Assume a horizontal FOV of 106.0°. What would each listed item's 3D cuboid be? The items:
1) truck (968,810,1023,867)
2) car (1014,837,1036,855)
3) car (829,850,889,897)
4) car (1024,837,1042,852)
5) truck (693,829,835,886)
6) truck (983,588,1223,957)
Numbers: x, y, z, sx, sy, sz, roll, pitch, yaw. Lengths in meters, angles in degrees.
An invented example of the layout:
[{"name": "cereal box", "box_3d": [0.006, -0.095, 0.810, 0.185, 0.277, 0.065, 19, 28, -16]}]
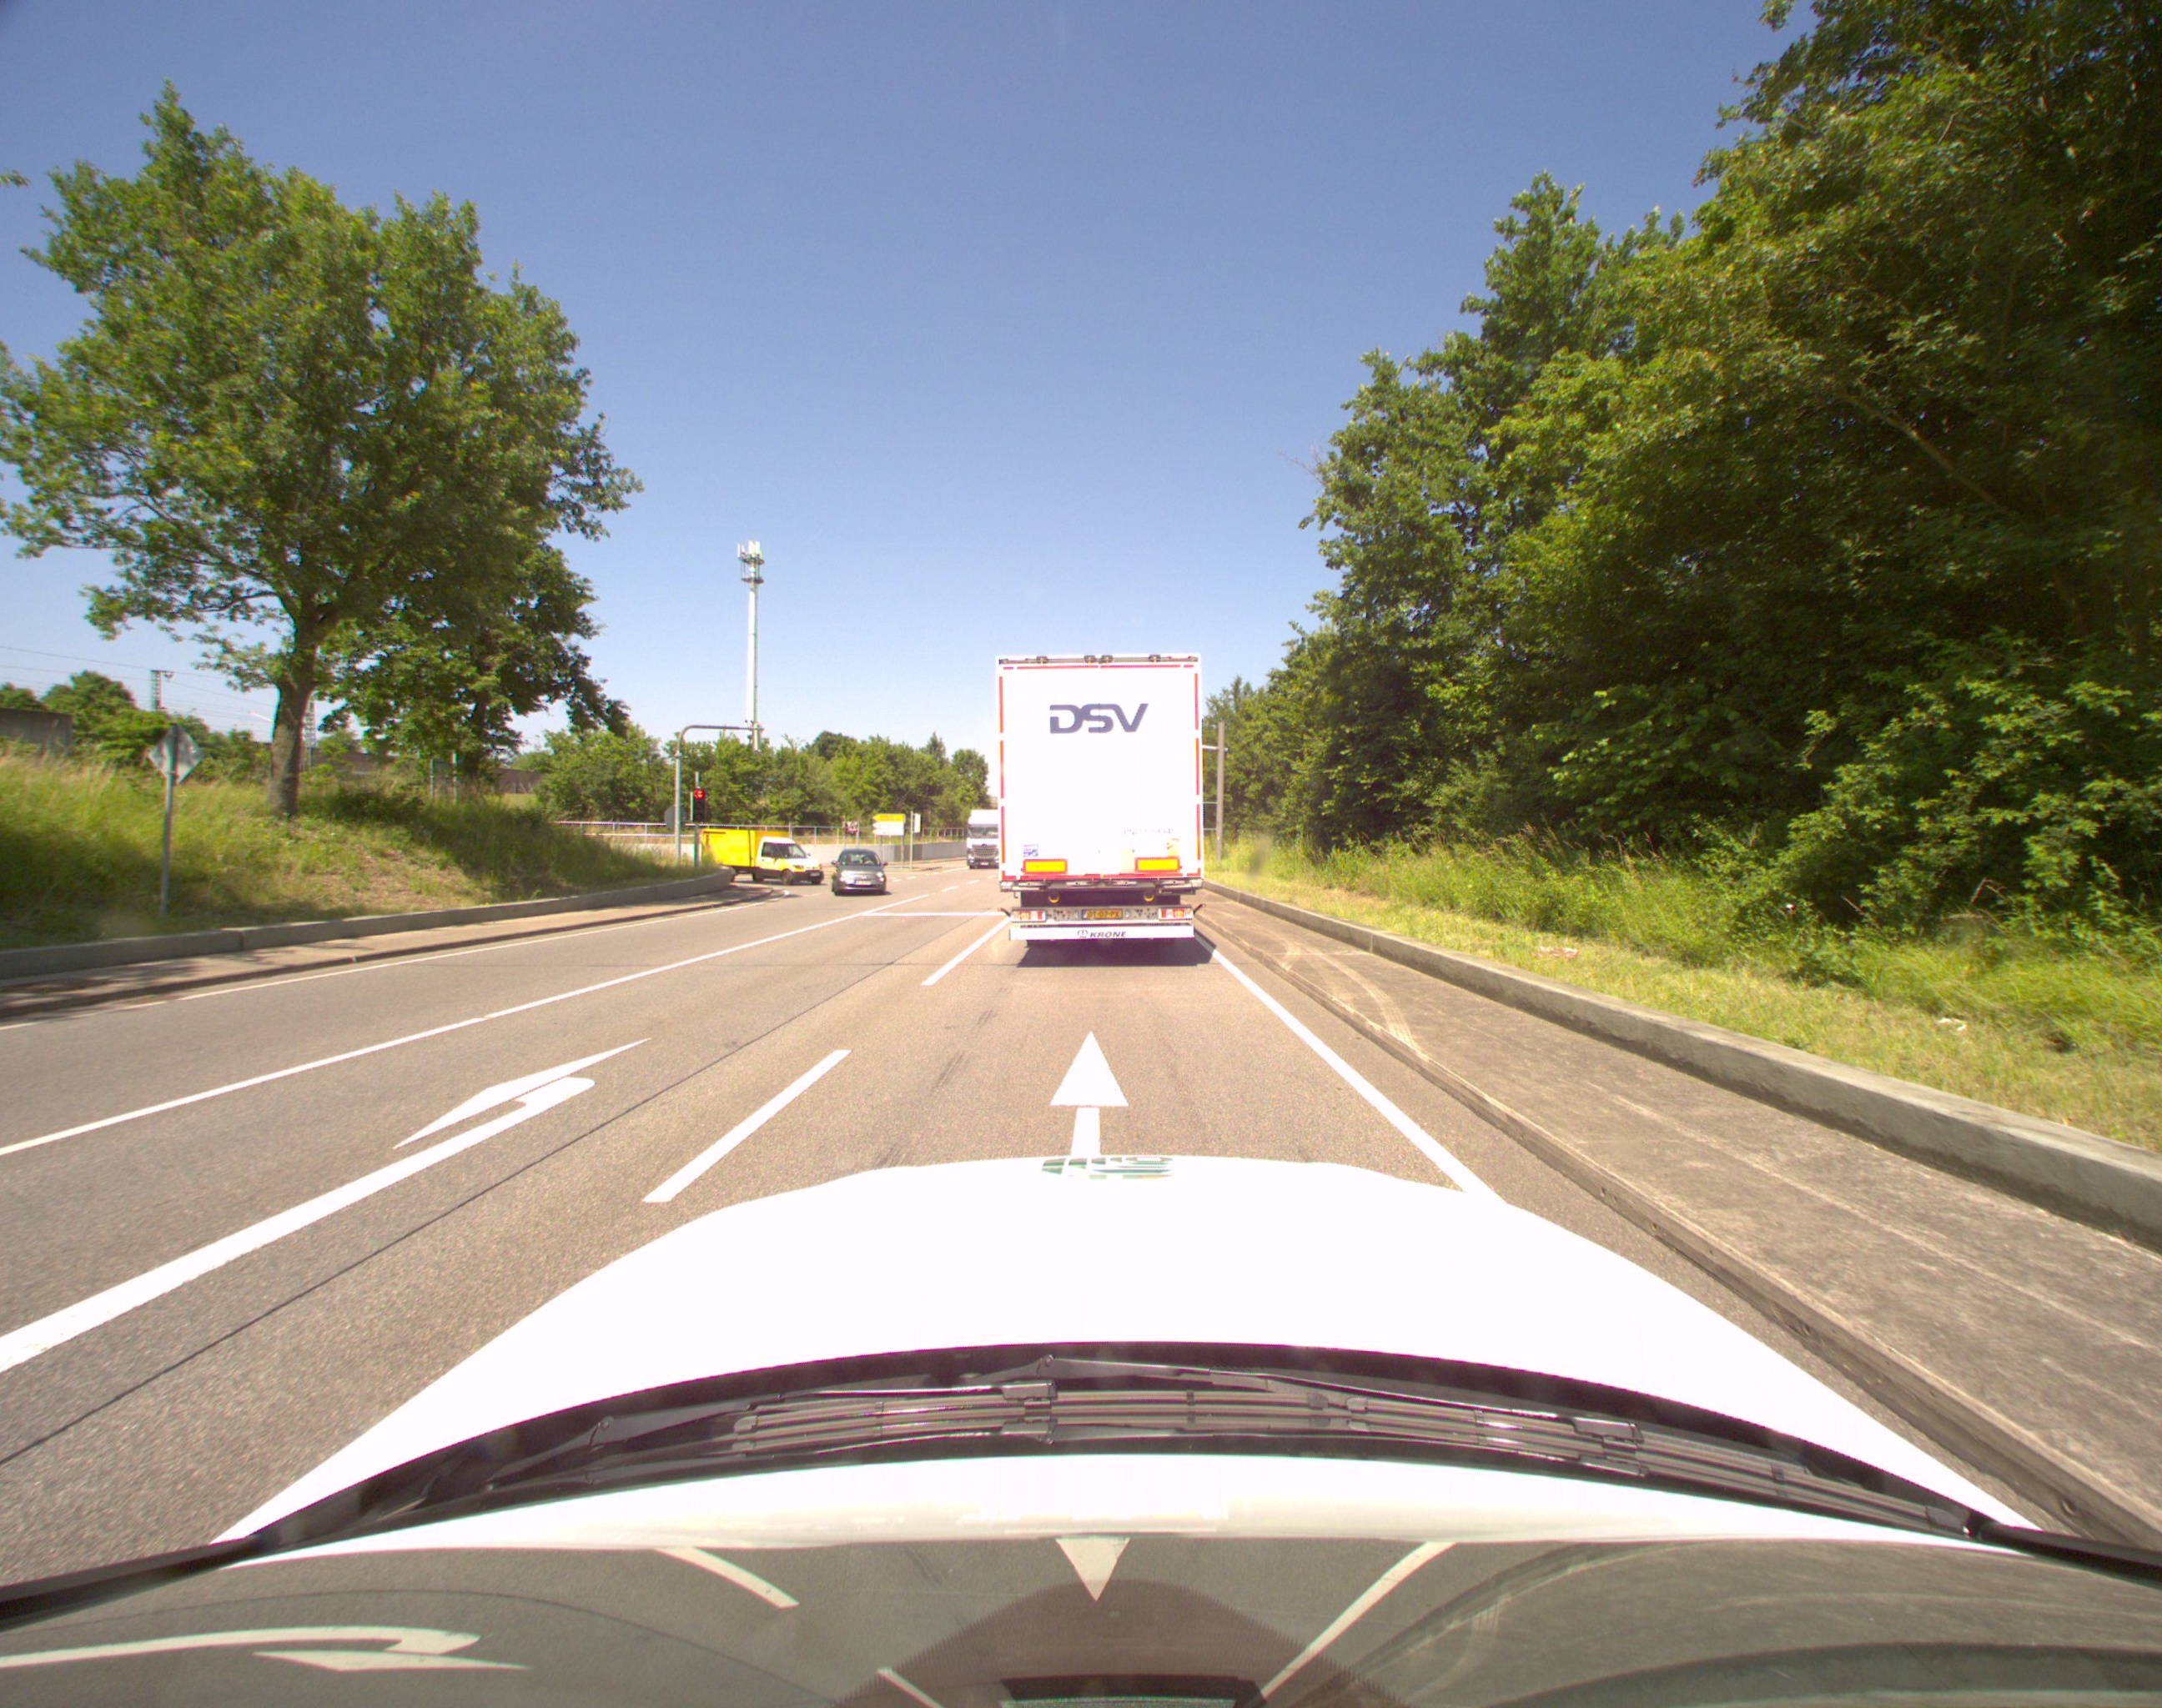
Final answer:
[{"name": "truck", "box_3d": [-6.132, -1.122, 60.391, 2.344, 3.749, 12.631, -1, 1, 2]}, {"name": "car", "box_3d": [-5.261, -0.790, 77.294, 1.741, 1.626, 3.704, -1, 1, 1]}, {"name": "car", "box_3d": [-7.622, 0.601, 27.767, 1.593, 1.469, 3.574, -1, 1, -22]}, {"name": "car", "box_3d": [-5.330, -1.029, 90.383, 1.741, 1.626, 3.704, -1, 1, 1]}, {"name": "truck", "box_3d": [-13.480, 0.120, 34.570, 5.951, 2.274, 1.996, 0, 1, 25]}, {"name": "truck", "box_3d": [0.336, -1.060, 15.056, 2.940, 4.568, 9.863, 0, 0, 1]}]
